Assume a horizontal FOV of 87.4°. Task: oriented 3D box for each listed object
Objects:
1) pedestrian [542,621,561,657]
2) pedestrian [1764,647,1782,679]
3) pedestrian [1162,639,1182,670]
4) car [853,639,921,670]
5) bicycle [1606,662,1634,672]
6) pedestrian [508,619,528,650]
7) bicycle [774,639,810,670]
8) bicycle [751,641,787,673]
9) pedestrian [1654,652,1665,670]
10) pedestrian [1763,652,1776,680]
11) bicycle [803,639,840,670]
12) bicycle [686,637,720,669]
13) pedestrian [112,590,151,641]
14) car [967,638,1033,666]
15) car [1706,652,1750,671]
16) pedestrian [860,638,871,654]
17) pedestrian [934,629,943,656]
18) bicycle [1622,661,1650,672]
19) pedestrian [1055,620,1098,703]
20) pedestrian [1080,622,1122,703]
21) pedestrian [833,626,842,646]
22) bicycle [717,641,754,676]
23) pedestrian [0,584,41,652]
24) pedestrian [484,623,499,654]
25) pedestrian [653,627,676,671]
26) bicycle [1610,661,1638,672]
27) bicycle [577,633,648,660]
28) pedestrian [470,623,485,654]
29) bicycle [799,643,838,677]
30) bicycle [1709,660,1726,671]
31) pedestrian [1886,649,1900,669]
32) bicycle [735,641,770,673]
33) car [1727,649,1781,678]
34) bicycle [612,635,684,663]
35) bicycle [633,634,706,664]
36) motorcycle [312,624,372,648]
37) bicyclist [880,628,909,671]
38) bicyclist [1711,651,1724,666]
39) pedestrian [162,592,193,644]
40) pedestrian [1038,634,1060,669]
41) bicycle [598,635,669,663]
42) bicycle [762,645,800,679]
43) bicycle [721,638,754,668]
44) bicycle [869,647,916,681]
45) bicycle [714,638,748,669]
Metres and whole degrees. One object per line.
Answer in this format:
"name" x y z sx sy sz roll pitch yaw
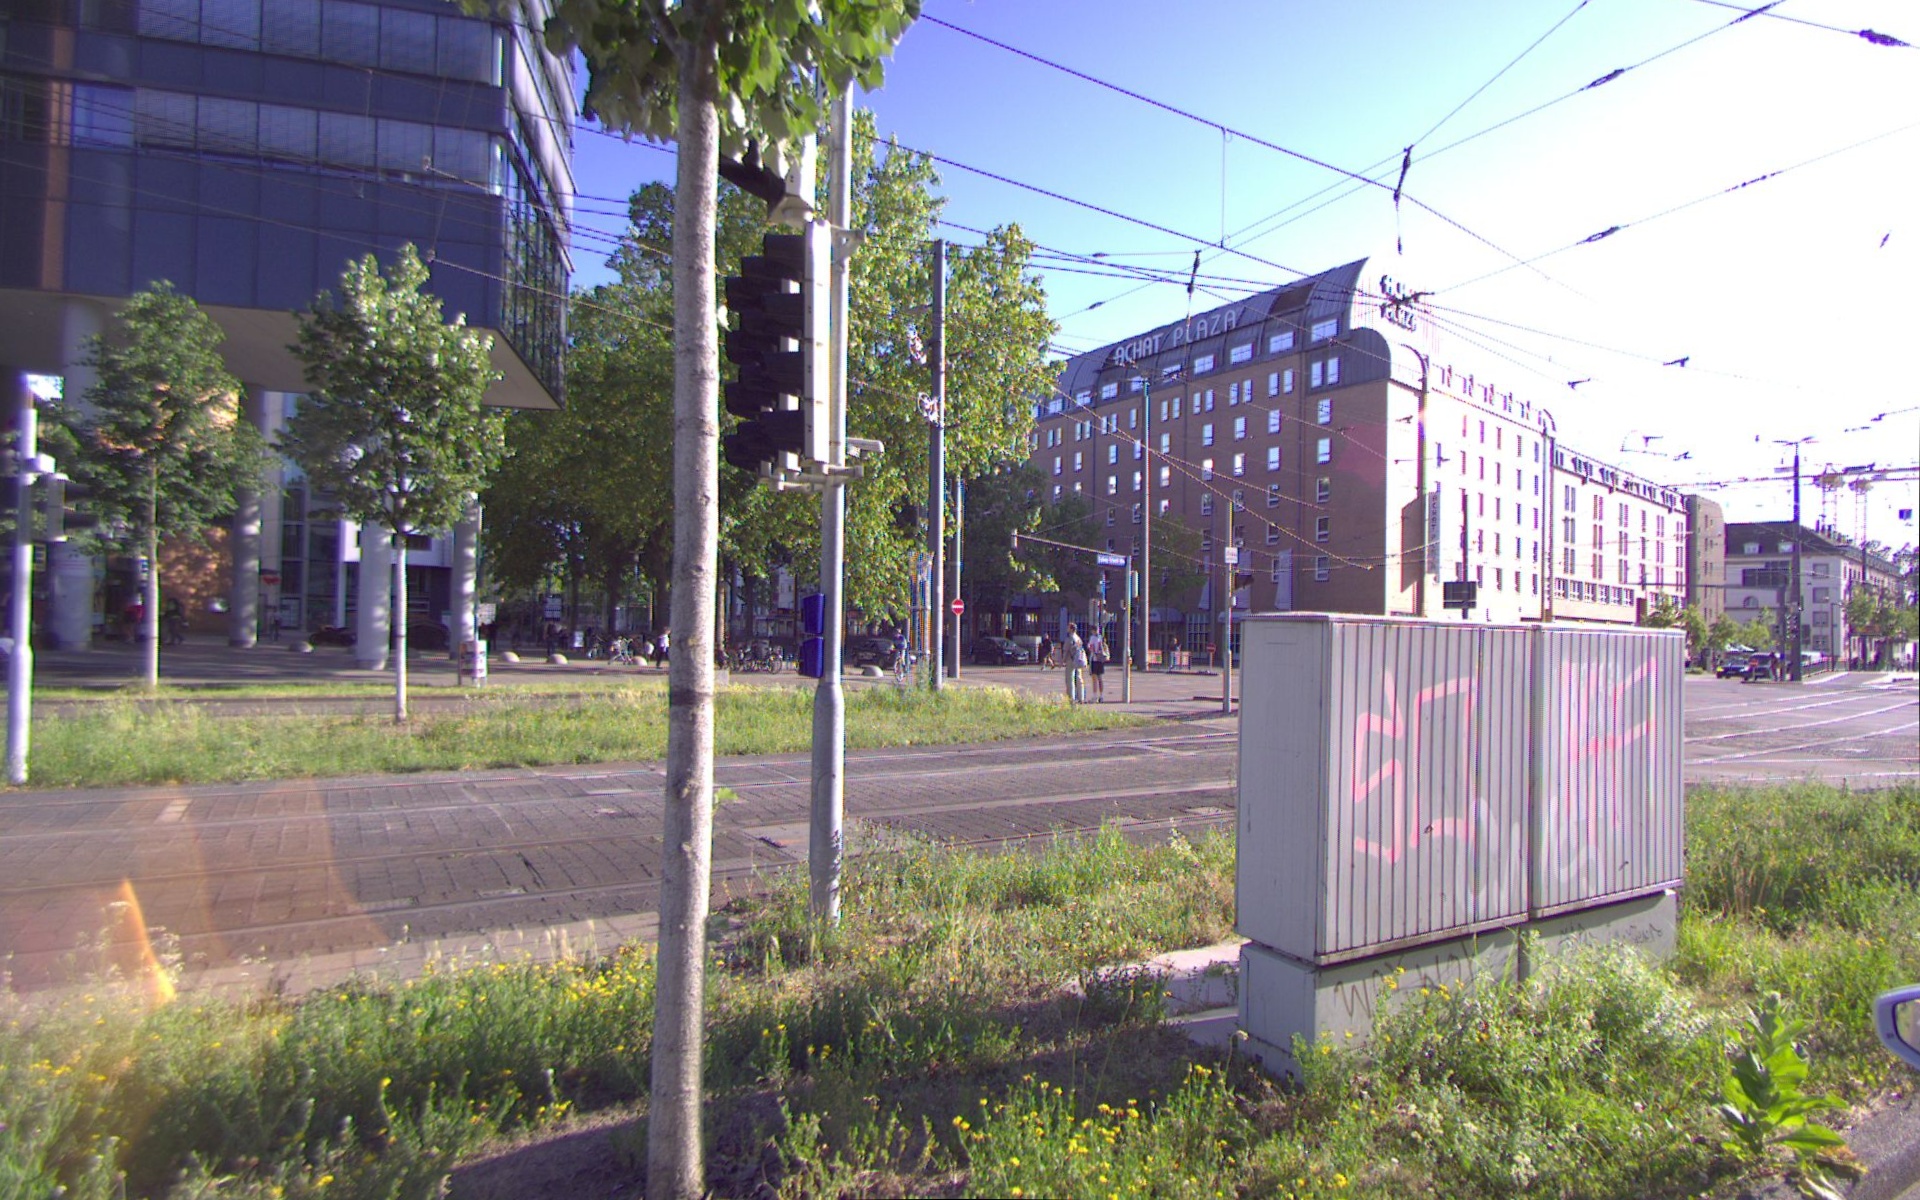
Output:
"pedestrian" -19.294 1.821 47.427 0.691 1.674 0.700 3 -2 -32
"pedestrian" 46.172 3.576 57.037 0.589 1.749 0.715 2 -2 -39
"pedestrian" 11.561 2.961 54.774 0.824 1.702 0.708 1 -1 -39
"car" -3.530 2.598 48.134 1.652 1.425 3.968 3 -3 -30
"bicycle" 56.165 5.695 85.525 0.477 0.856 2.024 2 -3 -30
"pedestrian" -24.157 1.893 54.877 0.685 1.644 0.734 1 -1 1
"bicycle" -6.616 2.122 39.386 0.592 1.143 2.348 1 -2 -30
"bicycle" -7.298 2.141 38.239 0.592 1.143 2.348 1 -2 -30
"pedestrian" 70.142 6.075 100.711 0.560 1.787 0.711 2 -3 -38
"pedestrian" 47.298 3.871 58.706 0.573 1.597 0.644 0 -2 36
"bicycle" -5.506 2.143 39.798 0.592 1.143 2.348 1 -2 -30
"bicycle" -9.676 1.990 37.762 0.592 1.143 2.348 1 -2 -30
"pedestrian" -27.156 0.519 32.925 0.722 1.644 0.696 2 -2 -18
"car" 2.125 2.823 54.368 1.653 1.433 3.965 3 -3 -32
"car" 56.069 4.488 73.280 4.199 1.285 1.822 3 -5 -43
"pedestrian" -6.982 3.402 74.196 0.583 1.179 0.742 2 -2 -17
"pedestrian" -1.515 2.987 70.259 0.581 1.853 0.745 2 -2 -1
"bicycle" 58.359 5.741 86.749 0.477 0.933 2.024 2 -3 -30
"pedestrian" 2.733 1.431 23.566 0.691 1.894 0.728 2 -2 -31
"pedestrian" 3.403 1.497 24.208 0.666 1.894 0.727 2 -2 -33
"pedestrian" -10.082 2.947 82.370 0.557 1.594 0.636 2 0 -20
"bicycle" -7.892 2.042 35.223 0.592 1.143 2.349 1 -2 -29
"pedestrian" -24.395 0.469 26.004 0.691 1.727 0.728 2 -2 -31
"pedestrian" -27.212 2.239 58.350 0.691 1.737 0.727 2 -2 -33
"pedestrian" -11.663 1.909 39.617 0.819 1.702 0.712 0 -1 -23
"bicycle" 57.184 5.727 86.481 0.477 0.933 2.024 2 -3 -30
"bicycle" -18.057 2.431 52.296 1.021 1.371 3.342 -1 -3 44
"pedestrian" -27.848 2.209 57.969 0.691 1.737 0.727 2 -2 -33
"bicycle" -5.138 2.156 36.394 0.592 1.143 2.349 1 -2 -29
"bicycle" 69.527 6.021 92.142 2.490 1.004 0.802 3 -3 -42
"pedestrian" 81.225 5.127 87.472 0.850 1.692 0.781 1 -1 39
"bicycle" -7.855 2.147 37.983 0.592 1.143 2.348 1 -2 -30
"car" 51.765 4.131 65.455 4.071 1.859 1.825 3 -4 -38
"bicycle" -15.648 2.452 50.439 1.021 1.371 3.342 -1 -3 44
"bicycle" -14.154 2.393 49.111 1.021 1.371 3.342 -1 -3 44
"motorcycle" -30.022 1.753 48.846 2.309 1.072 0.828 2 -2 -22
"bicyclist" -2.305 1.729 35.282 0.682 1.480 0.752 0 -2 31
"bicyclist" 69.447 5.378 92.085 0.919 1.395 0.802 3 -3 -42
"pedestrian" -26.544 0.627 34.075 0.691 1.727 0.728 2 -2 -31
"pedestrian" 4.380 2.535 49.468 0.821 1.702 0.711 0 -1 -29
"bicycle" -16.700 2.500 51.508 1.021 1.371 3.342 -1 -3 44
"bicycle" -6.347 2.173 35.558 0.592 1.143 2.349 1 -2 -29
"bicycle" -8.897 2.113 40.163 0.592 1.143 2.348 1 -2 -30
"bicycle" -2.349 2.239 35.208 0.682 1.152 1.847 0 -2 31
"bicycle" -8.686 2.009 38.032 0.592 1.143 2.348 1 -2 -30
